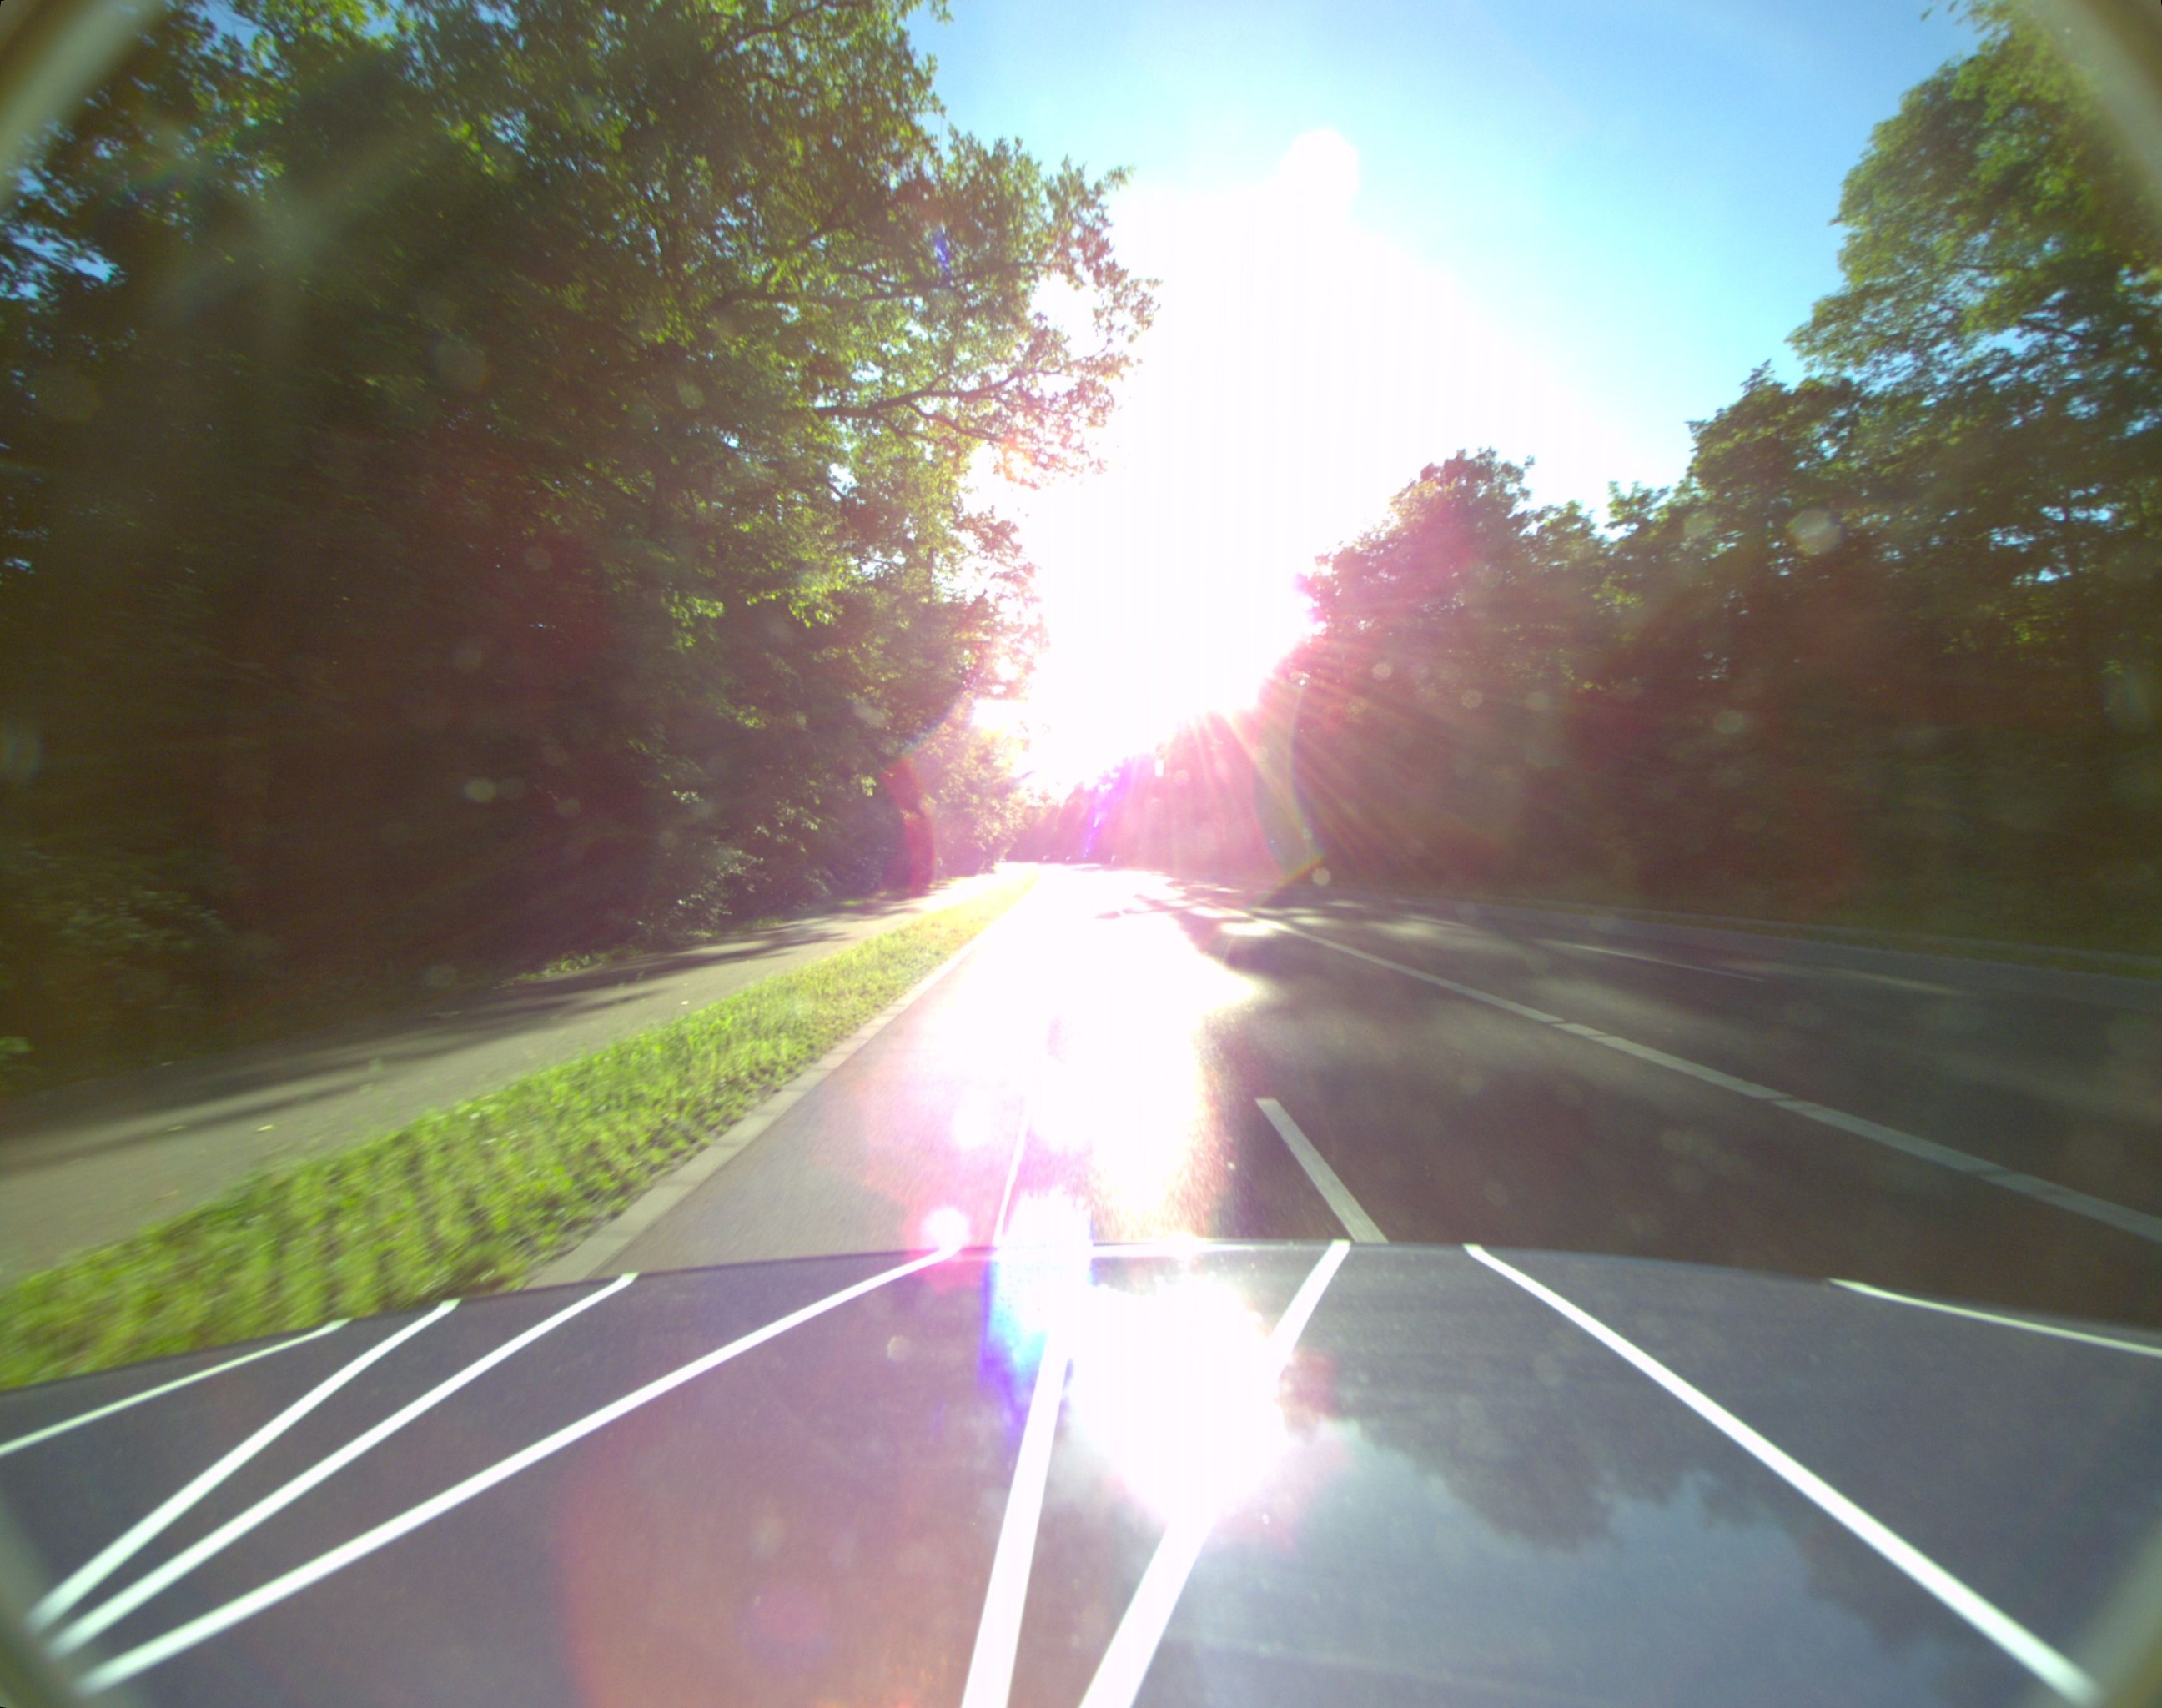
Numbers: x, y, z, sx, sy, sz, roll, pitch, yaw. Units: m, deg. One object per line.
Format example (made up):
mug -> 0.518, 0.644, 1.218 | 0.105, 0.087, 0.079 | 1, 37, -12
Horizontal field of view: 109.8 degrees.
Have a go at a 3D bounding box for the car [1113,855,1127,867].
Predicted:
car -> 5.259, 0.939, 103.592 | 1.499, 1.436, 3.499 | -2, 0, -3

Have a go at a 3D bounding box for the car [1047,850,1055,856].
car -> -8.033, -0.212, 204.307 | 1.813, 1.653, 4.518 | -1, 0, -8

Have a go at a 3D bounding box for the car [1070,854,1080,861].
car -> -1.296, 0.811, 163.226 | 1.715, 1.415, 4.129 | -1, 0, -4
